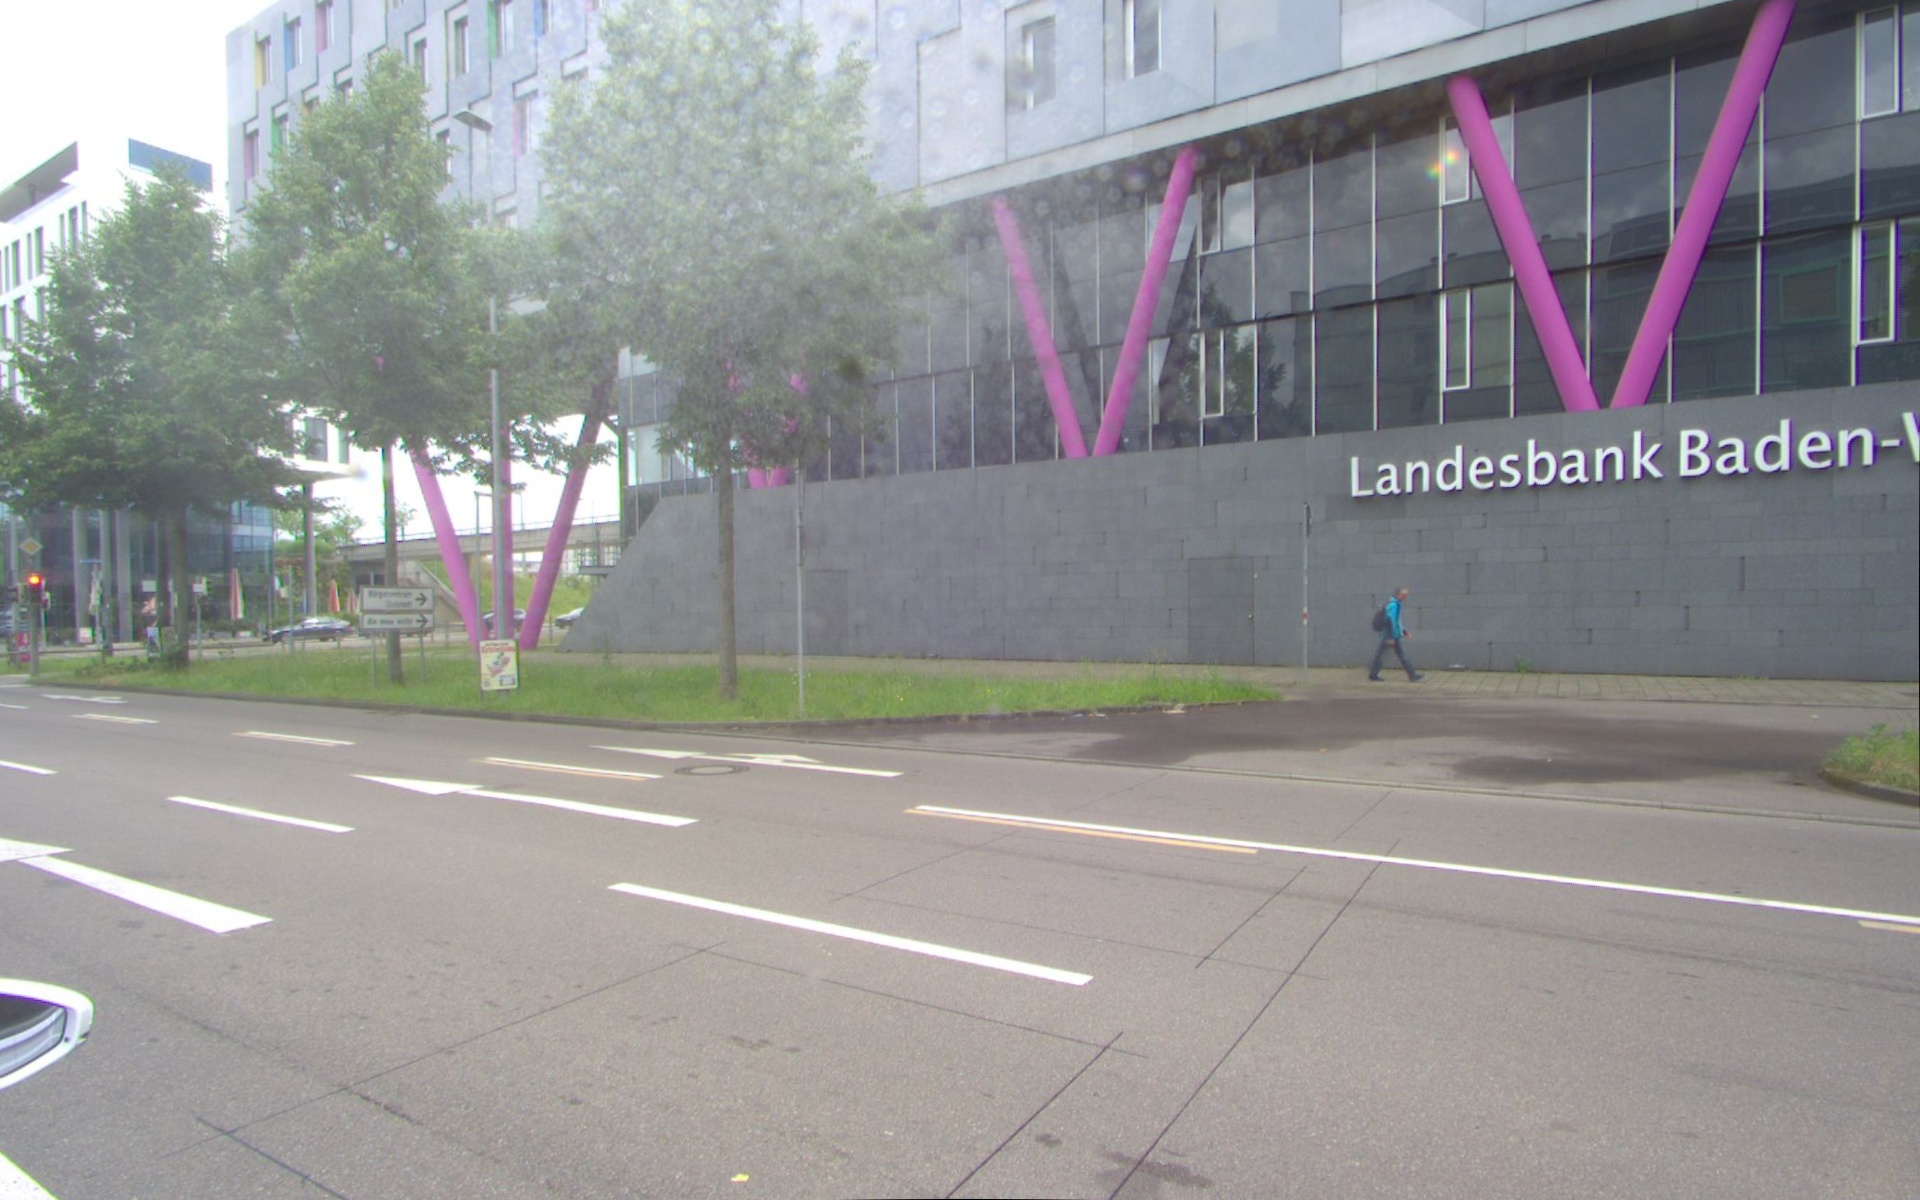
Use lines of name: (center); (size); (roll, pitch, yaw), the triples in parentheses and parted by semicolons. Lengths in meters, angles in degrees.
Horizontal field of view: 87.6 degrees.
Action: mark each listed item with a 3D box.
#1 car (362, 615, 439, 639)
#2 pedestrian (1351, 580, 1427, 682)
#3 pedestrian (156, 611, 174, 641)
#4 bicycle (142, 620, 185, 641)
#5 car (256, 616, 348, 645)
car: (-36.230, 1.707, 64.927); (1.734, 1.474, 4.070); (0, 0, 34)
pedestrian: (7.925, 0.550, 18.477); (1.121, 1.794, 1.049); (0, 1, 33)
pedestrian: (-43.959, 1.433, 55.394); (0.610, 1.625, 0.613); (0, 1, 34)
bicycle: (-44.001, 1.697, 55.333); (0.609, 1.100, 1.787); (0, 0, 34)
car: (-39.163, 1.783, 59.654); (1.734, 1.636, 4.240); (0, 0, 34)
